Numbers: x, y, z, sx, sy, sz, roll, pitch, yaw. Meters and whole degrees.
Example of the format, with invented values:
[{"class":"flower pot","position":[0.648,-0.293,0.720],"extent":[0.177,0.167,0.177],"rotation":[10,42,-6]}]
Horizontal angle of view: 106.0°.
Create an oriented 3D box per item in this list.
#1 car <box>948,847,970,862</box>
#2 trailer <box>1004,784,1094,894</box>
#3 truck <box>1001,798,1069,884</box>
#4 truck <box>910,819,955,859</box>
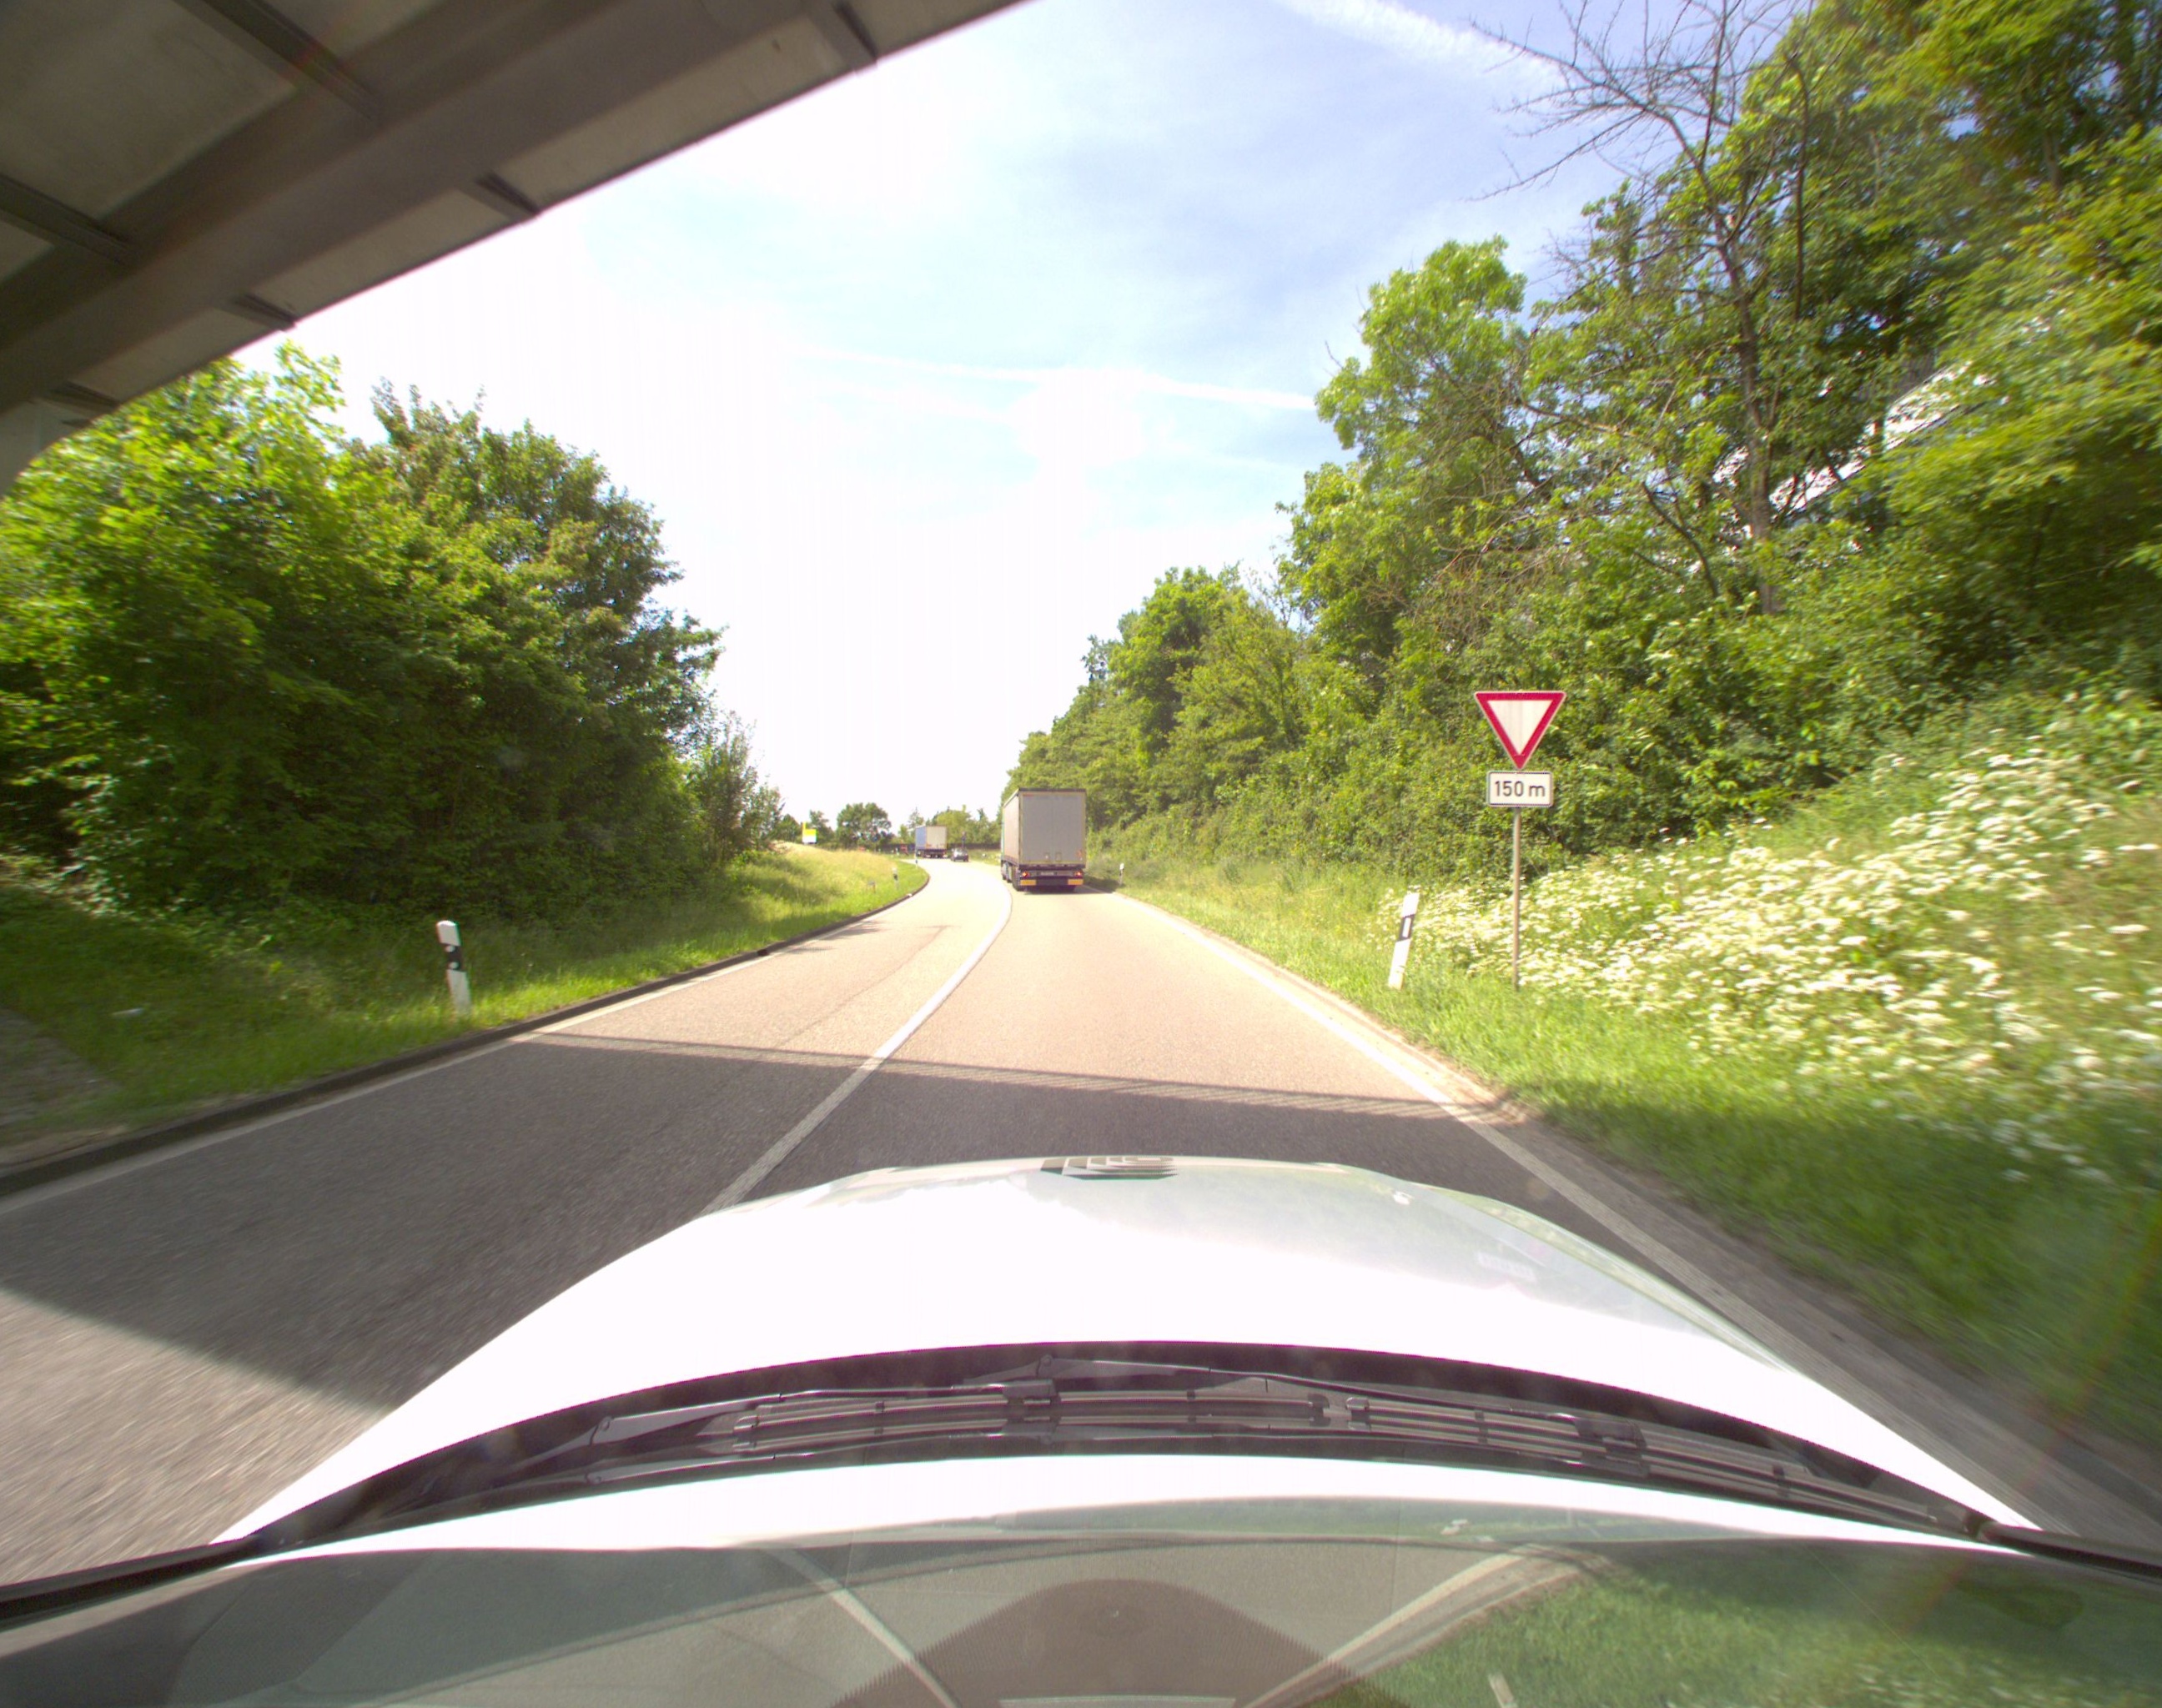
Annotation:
[{"class":"car","position":[-13.294,0.025,88.348],"extent":[1.671,1.486,3.975],"rotation":[0,1,-19]},{"class":"trailer","position":[-1.798,-0.539,36.737],"extent":[3.024,4.034,13.319],"rotation":[0,0,-7]},{"class":"truck","position":[-2.604,-0.637,43.603],"extent":[3.150,4.224,7.104],"rotation":[0,0,-7]},{"class":"truck","position":[-19.371,-1.886,104.953],"extent":[3.838,4.744,16.109],"rotation":[-1,1,-17]}]
